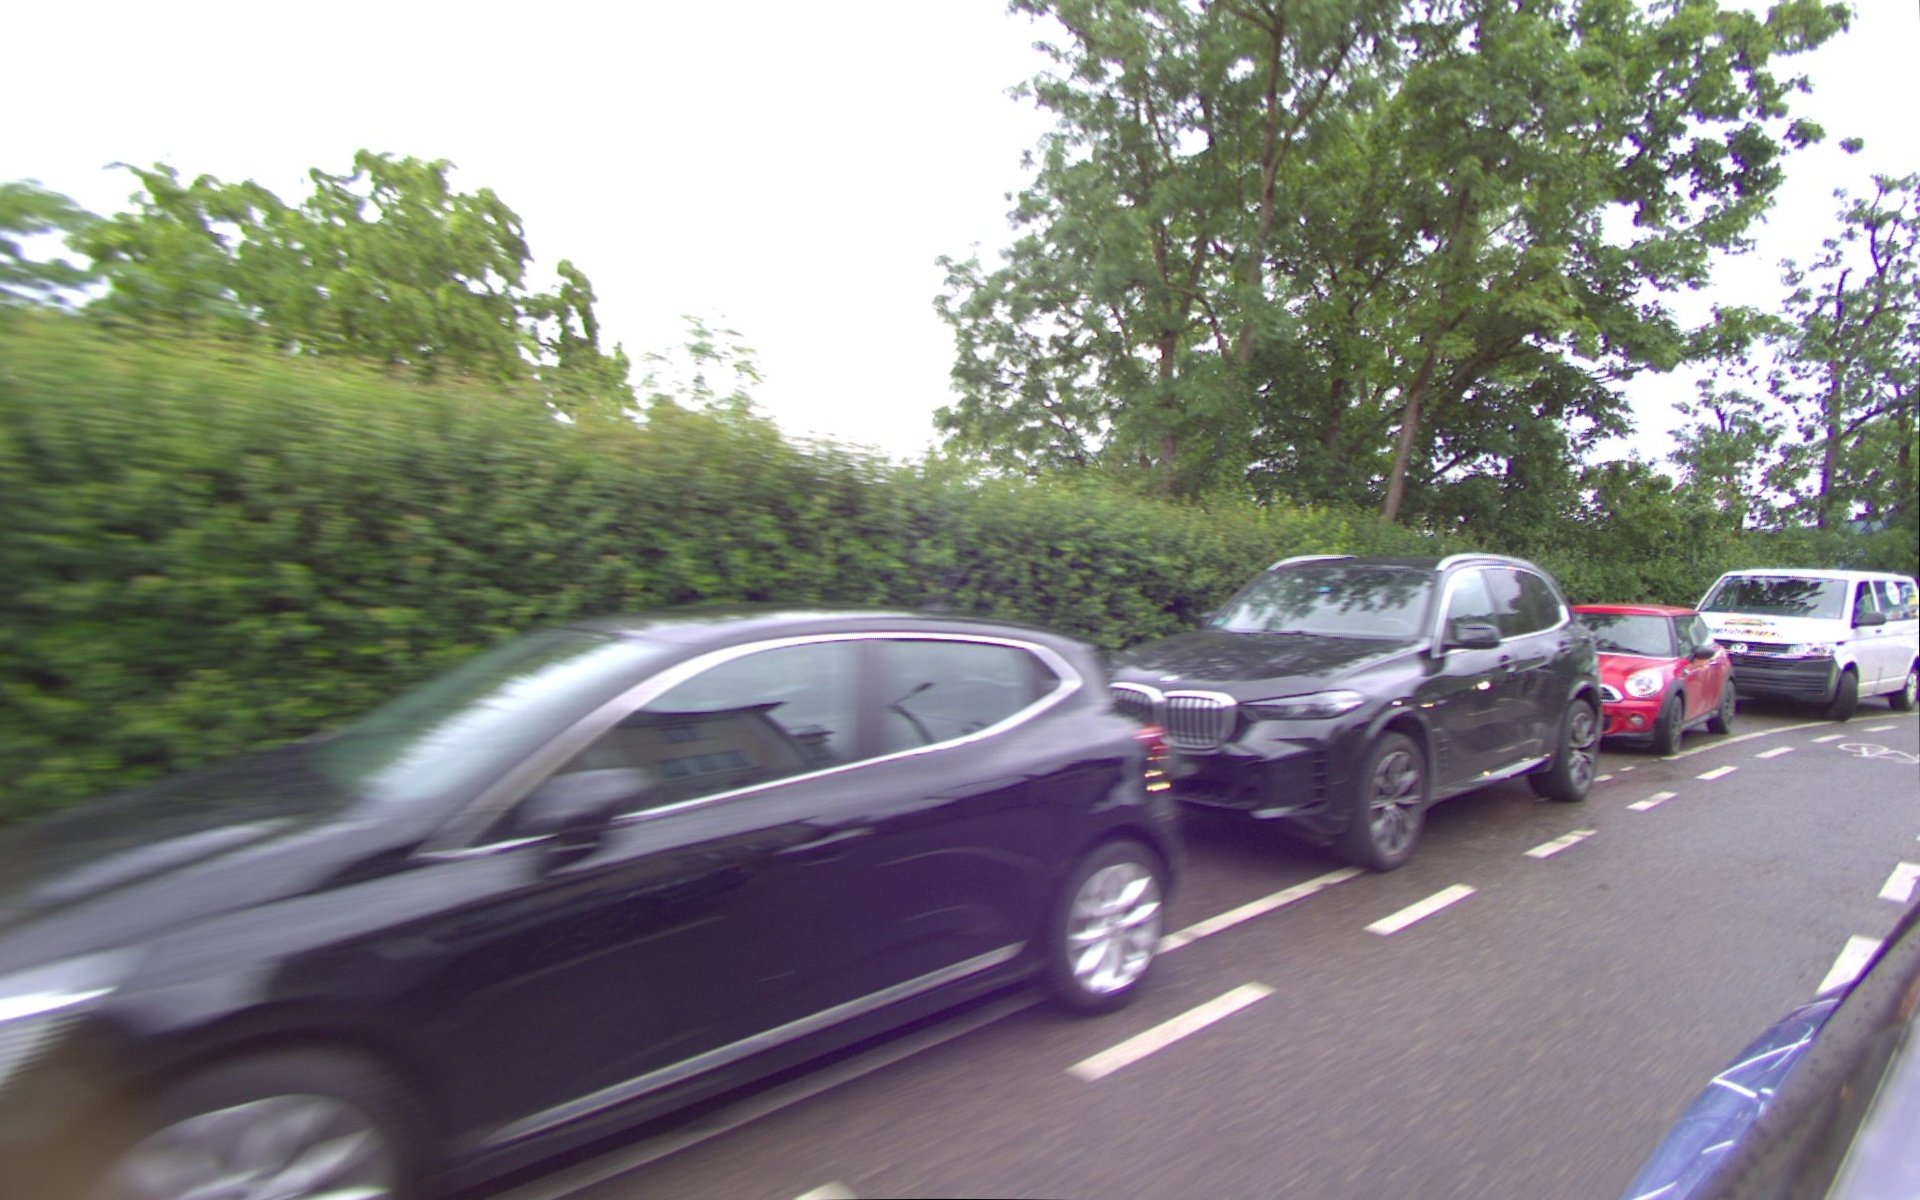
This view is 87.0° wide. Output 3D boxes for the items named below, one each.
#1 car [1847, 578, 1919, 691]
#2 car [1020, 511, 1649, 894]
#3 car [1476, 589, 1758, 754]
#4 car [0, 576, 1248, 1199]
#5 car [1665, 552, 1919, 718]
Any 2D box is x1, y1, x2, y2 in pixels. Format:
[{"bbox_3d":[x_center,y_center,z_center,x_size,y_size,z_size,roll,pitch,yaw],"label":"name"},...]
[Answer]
[{"bbox_3d":[17.223,0.624,17.015,4.288,1.792,1.870,2,1,-25],"label":"car"},{"bbox_3d":[2.876,0.480,7.114,4.812,1.805,2.031,1,1,-41],"label":"car"},{"bbox_3d":[7.225,0.658,10.991,3.678,1.431,1.674,1,2,-43],"label":"car"},{"bbox_3d":[-0.927,0.679,3.340,3.912,1.439,1.692,0,2,-40],"label":"car"},{"bbox_3d":[12.159,0.434,14.344,4.714,1.972,1.868,1,3,-34],"label":"car"}]
